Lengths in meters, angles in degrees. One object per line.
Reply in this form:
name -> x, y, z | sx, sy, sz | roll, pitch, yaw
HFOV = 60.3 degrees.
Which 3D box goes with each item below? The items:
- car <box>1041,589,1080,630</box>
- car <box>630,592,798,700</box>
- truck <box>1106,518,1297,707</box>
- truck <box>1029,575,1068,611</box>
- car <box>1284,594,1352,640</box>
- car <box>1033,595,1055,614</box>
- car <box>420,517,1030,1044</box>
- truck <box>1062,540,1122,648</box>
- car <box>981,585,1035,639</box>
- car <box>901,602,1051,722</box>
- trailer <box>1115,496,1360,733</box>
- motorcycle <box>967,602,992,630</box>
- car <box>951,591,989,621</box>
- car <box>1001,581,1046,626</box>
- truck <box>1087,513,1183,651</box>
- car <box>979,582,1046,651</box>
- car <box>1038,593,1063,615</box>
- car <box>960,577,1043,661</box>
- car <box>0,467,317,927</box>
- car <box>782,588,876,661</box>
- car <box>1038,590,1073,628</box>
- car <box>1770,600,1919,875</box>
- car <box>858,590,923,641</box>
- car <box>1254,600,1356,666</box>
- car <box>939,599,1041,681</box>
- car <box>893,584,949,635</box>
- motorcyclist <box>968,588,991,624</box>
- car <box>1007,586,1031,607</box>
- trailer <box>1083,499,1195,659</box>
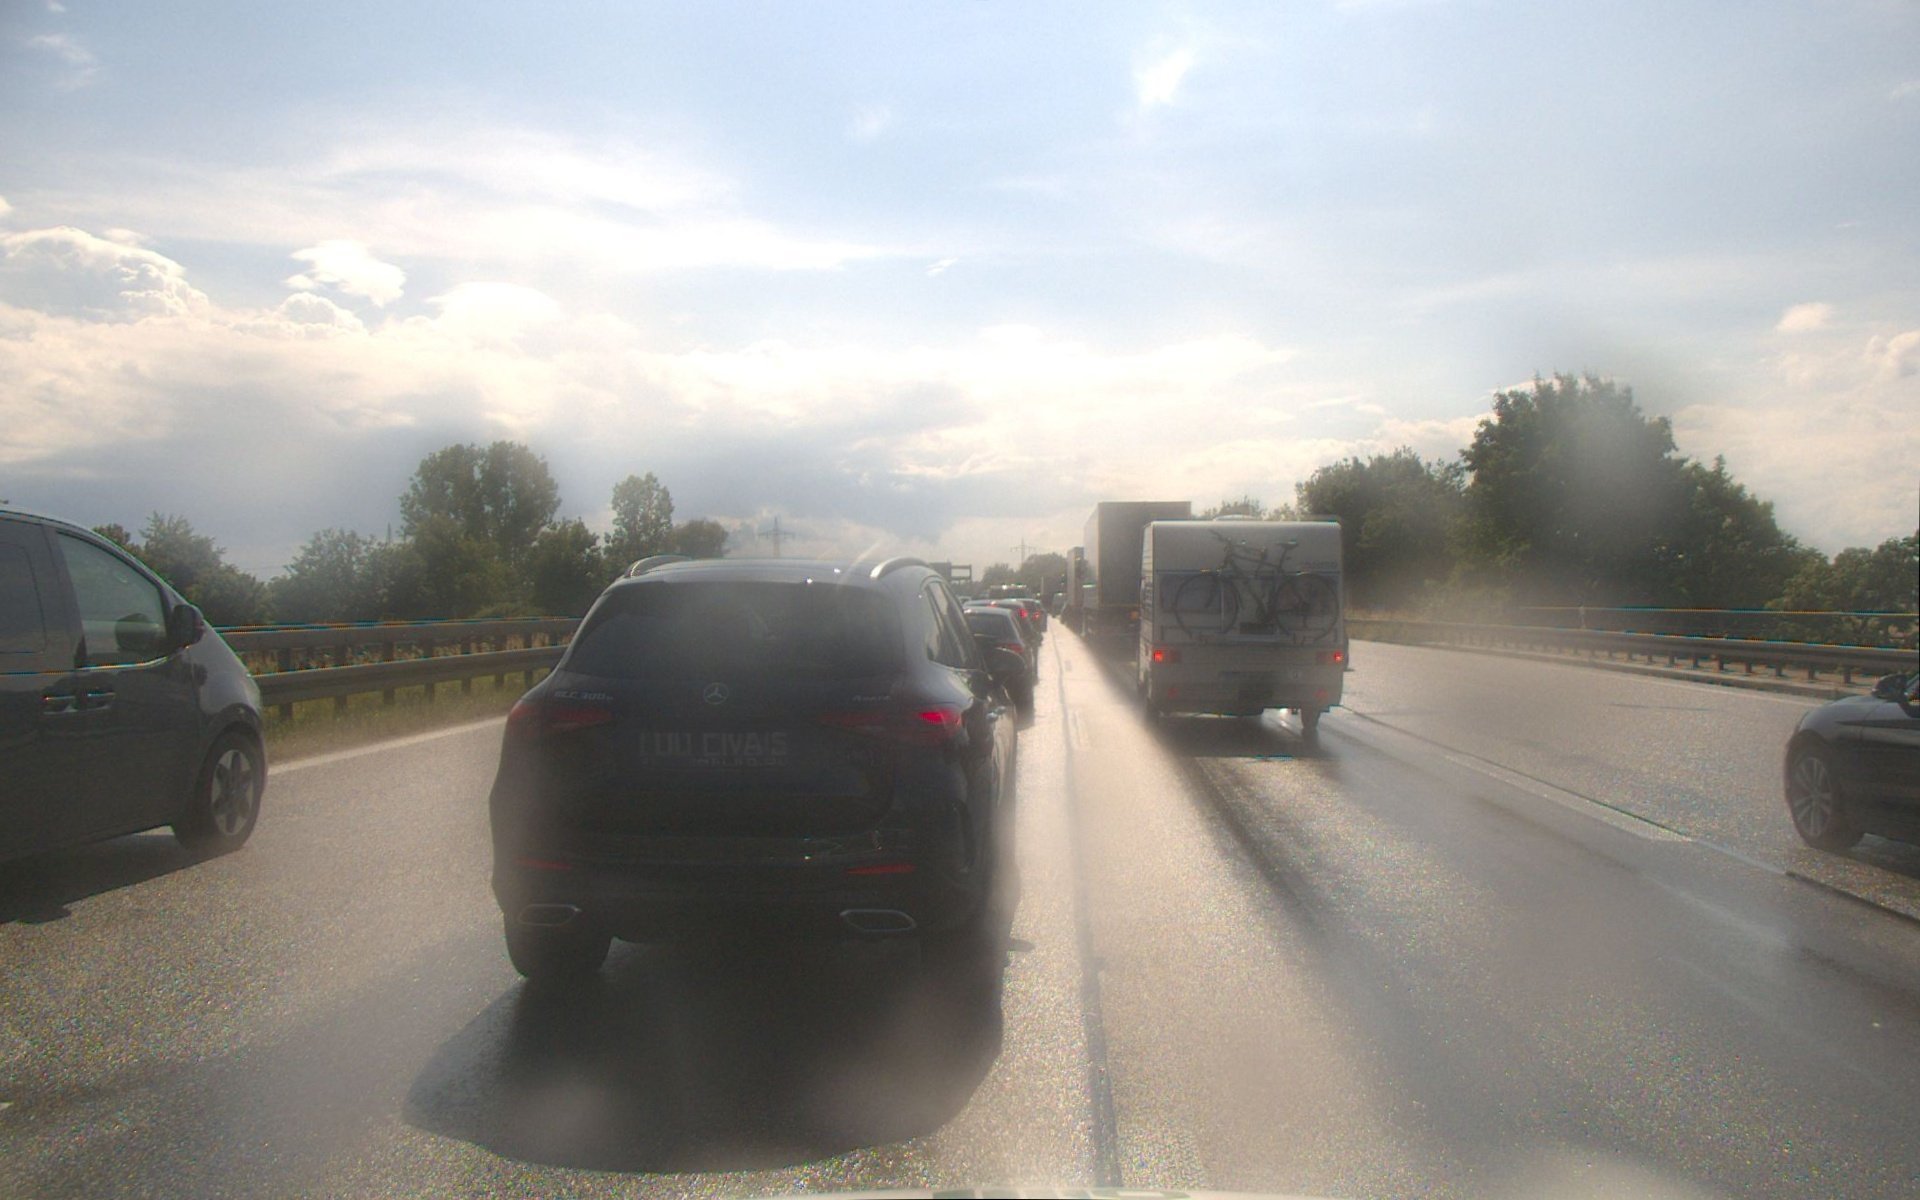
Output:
car -> 5.383, 0.503, 88.501 | 1.952, 2.049, 4.002 | 2, 0, 4
car -> -3.730, 0.649, 25.750 | 1.720, 1.543, 4.211 | 0, 0, 4
truck -> 3.507, 0.176, 25.194 | 2.324, 2.520, 5.758 | 1, 0, 3
truck -> 10.258, -0.767, 193.759 | 3.765, 4.087, 11.219 | 1, 0, -1
car -> 13.030, 0.599, 60.407 | 1.751, 1.641, 4.387 | 0, 0, 3
car -> 7.813, 0.419, 154.254 | 1.837, 1.791, 4.000 | 1, 0, 0
car -> -0.674, 0.587, 7.556 | 1.952, 1.690, 4.407 | 0, 0, 3
truck -> 6.279, -0.276, 79.513 | 2.450, 4.914, 7.545 | 1, 0, 2
car -> 1.938, 0.461, 65.665 | 1.952, 2.049, 4.002 | 1, 0, 4
car -> 0.293, 0.736, 21.593 | 1.720, 1.411, 3.947 | 0, 0, 4
trailer -> 3.299, 0.164, 21.112 | 2.324, 2.527, 6.525 | 1, 0, 3
motorcycle -> 0.936, 0.761, 79.967 | 1.051, 1.293, 2.691 | 0, 0, 4
car -> 0.606, 0.326, 99.534 | 1.952, 1.644, 4.002 | 4, 0, 4
car -> 3.011, 0.168, 77.511 | 1.952, 2.049, 4.002 | -1, 0, 4
truck -> 5.640, -0.554, 53.872 | 2.932, 4.239, 5.243 | 0, 0, 5
car -> 1.761, 0.525, 54.398 | 1.952, 2.048, 4.002 | 4, 0, 4
car -> 7.370, 0.321, 135.212 | 1.837, 1.791, 4.000 | 1, 0, 0
car -> 1.122, 0.473, 42.822 | 1.952, 2.049, 4.002 | 1, 0, 4
car -> -5.224, 0.433, 7.899 | 1.951, 2.049, 5.272 | 0, 0, 4
car -> -3.282, 0.608, 42.171 | 1.952, 1.750, 4.001 | 1, 0, 2
car -> 5.726, 0.530, 98.693 | 1.952, 2.048, 4.002 | 4, 0, 4
car -> 6.091, 0.738, 8.628 | 1.810, 1.490, 4.257 | -1, 0, 3
car -> -2.536, 0.565, 61.270 | 1.952, 1.803, 4.002 | 1, 0, 4
car -> 7.835, 0.716, 37.808 | 1.704, 1.445, 3.837 | 0, 0, 3
car -> 0.633, 0.713, 31.412 | 1.768, 1.432, 4.002 | 1, 0, 3
car -> -1.652, 0.400, 71.610 | 1.952, 2.048, 4.002 | 4, 0, 4
motorcyclist -> 0.940, 0.293, 79.999 | 1.041, 1.748, 0.785 | 0, 0, 3
car -> 4.975, -0.278, 140.094 | 1.837, 1.791, 4.000 | 1, 0, 0
trailer -> 5.153, -0.557, 48.349 | 2.943, 4.239, 8.541 | 0, 0, 5
